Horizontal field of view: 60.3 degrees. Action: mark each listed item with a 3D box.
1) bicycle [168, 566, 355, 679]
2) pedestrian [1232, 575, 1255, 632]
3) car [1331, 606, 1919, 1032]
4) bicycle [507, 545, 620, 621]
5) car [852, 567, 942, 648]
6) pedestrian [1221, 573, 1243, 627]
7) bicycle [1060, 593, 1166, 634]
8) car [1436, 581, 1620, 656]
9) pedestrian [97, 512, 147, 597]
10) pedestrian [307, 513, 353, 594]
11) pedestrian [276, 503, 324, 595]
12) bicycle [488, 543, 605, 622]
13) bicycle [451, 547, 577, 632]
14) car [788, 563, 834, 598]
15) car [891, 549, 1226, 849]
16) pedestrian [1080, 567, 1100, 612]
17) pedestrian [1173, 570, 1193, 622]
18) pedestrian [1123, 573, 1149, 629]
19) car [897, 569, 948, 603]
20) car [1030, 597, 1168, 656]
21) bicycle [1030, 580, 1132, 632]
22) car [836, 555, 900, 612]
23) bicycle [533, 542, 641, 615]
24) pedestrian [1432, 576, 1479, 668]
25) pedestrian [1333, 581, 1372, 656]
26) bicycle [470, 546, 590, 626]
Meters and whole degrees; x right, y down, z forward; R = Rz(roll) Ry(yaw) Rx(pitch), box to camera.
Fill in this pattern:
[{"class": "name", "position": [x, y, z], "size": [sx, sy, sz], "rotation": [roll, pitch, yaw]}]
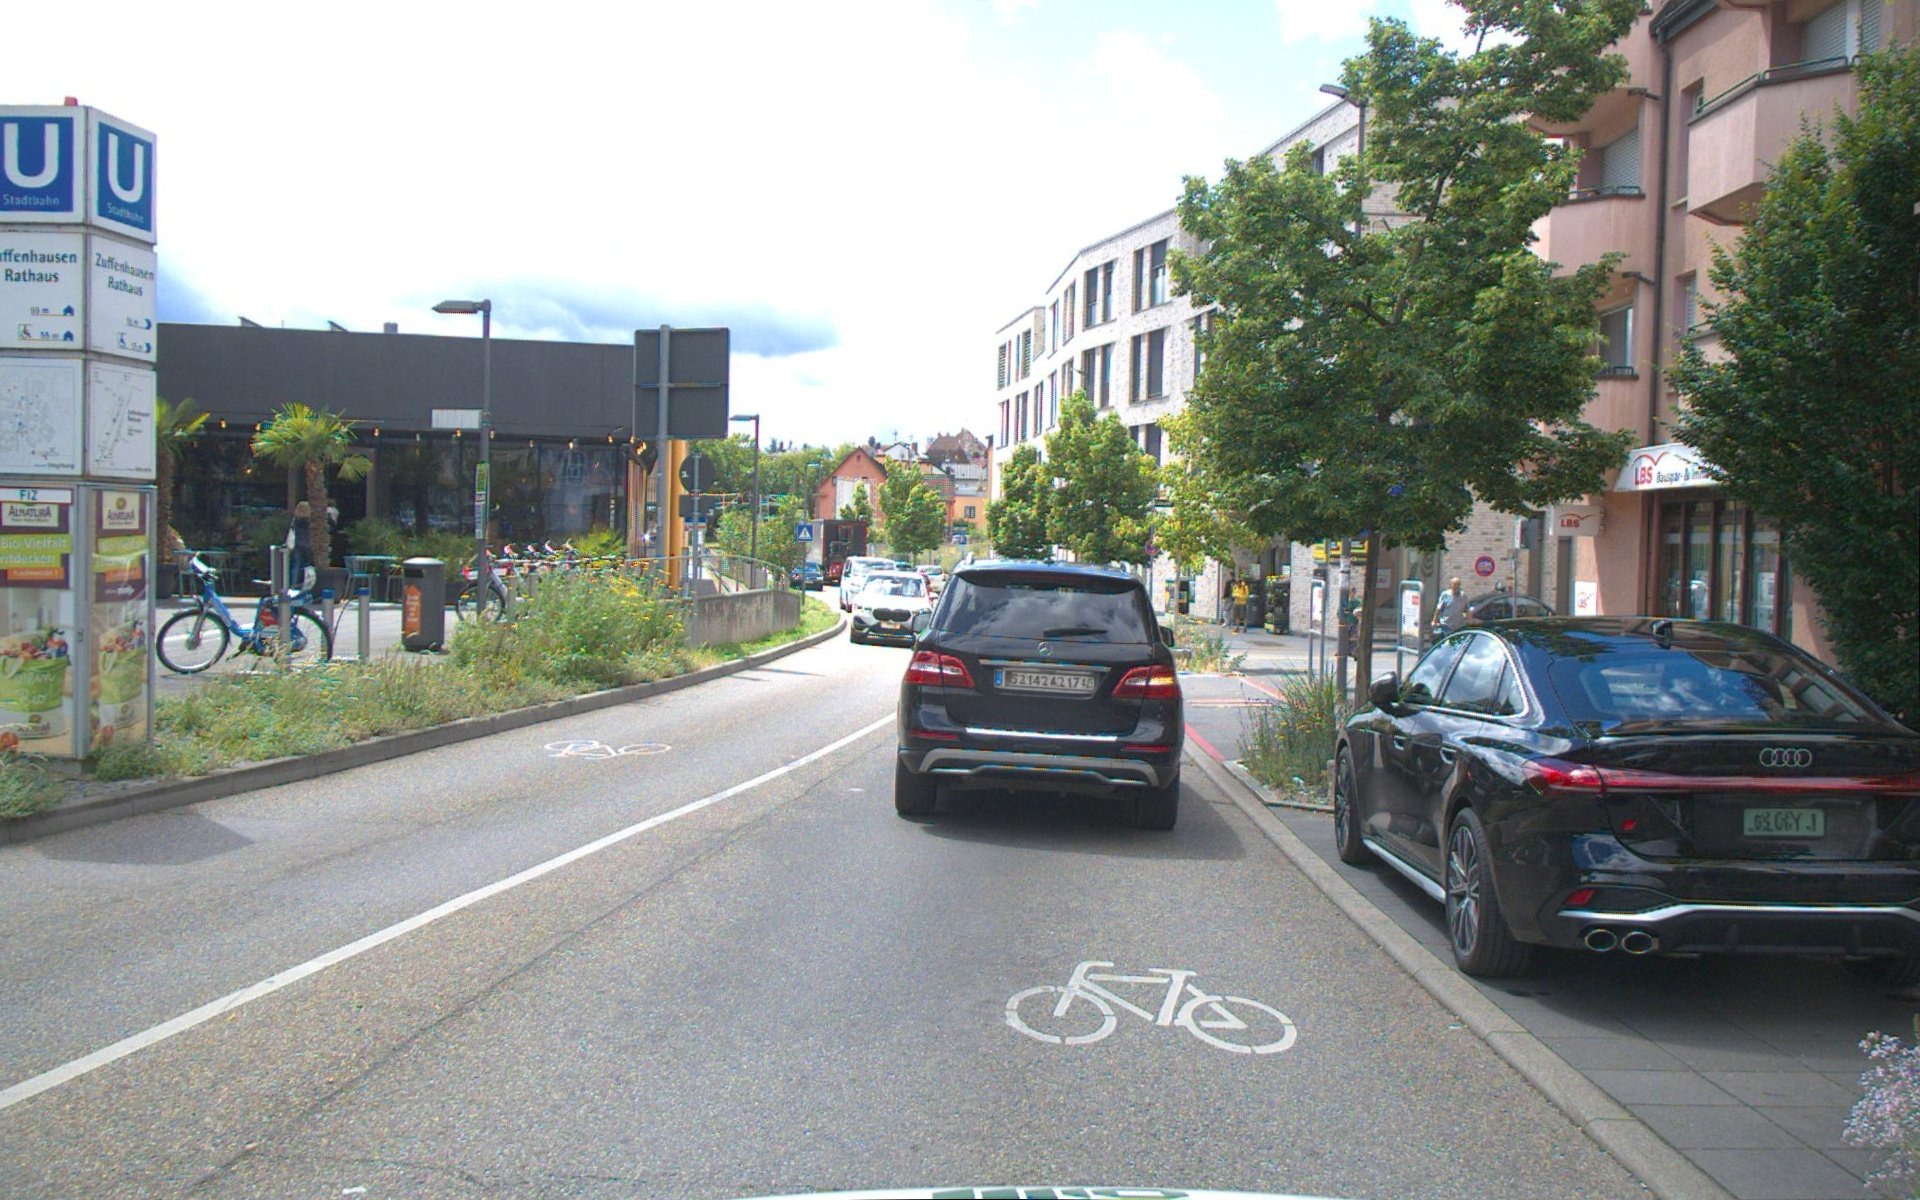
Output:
[{"class": "bicycle", "position": [-6.580, 0.202, 15.605], "size": [1.577, 1.014, 0.500], "rotation": [1, 0, 8]}, {"class": "pedestrian", "position": [8.580, 0.105, 50.068], "size": [0.547, 1.721, 0.639], "rotation": [1, 0, -1]}, {"class": "car", "position": [3.053, 0.763, 7.910], "size": [1.817, 1.430, 4.376], "rotation": [0, 0, 3]}, {"class": "bicycle", "position": [-5.984, -0.256, 25.000], "size": [1.535, 1.110, 0.578], "rotation": [1, 0, 2]}, {"class": "car", "position": [-1.390, 0.129, 37.714], "size": [1.803, 1.635, 4.000], "rotation": [3, 1, 0]}, {"class": "pedestrian", "position": [8.689, 0.003, 52.851], "size": [0.547, 1.712, 0.568], "rotation": [1, 0, -1]}, {"class": "bicycle", "position": [4.446, 0.389, 48.128], "size": [2.998, 1.166, 0.710], "rotation": [1, 1, -3]}, {"class": "car", "position": [14.175, 0.441, 41.450], "size": [3.905, 1.593, 1.847], "rotation": [4, 1, 1]}, {"class": "pedestrian", "position": [-13.967, -0.751, 27.584], "size": [0.570, 1.403, 0.614], "rotation": [0, 0, -10]}, {"class": "pedestrian", "position": [-11.808, -0.865, 31.006], "size": [0.568, 1.489, 0.616], "rotation": [1, 0, 10]}, {"class": "pedestrian", "position": [-12.030, -0.928, 30.137], "size": [0.604, 1.646, 0.580], "rotation": [1, 1, 37]}, {"class": "bicycle", "position": [-6.017, -0.261, 24.117], "size": [1.535, 1.110, 0.578], "rotation": [1, 0, 2]}, {"class": "bicycle", "position": [-6.053, -0.143, 22.495], "size": [1.535, 1.110, 0.578], "rotation": [1, 0, 2]}, {"class": "car", "position": [-7.709, -1.001, 85.366], "size": [1.808, 1.635, 3.989], "rotation": [3, 1, -12]}, {"class": "car", "position": [0.662, 0.595, 12.309], "size": [1.985, 1.757, 4.434], "rotation": [2, 0, 2]}, {"class": "pedestrian", "position": [4.974, -0.397, 63.354], "size": [0.550, 1.712, 0.565], "rotation": [1, 0, -20]}, {"class": "pedestrian", "position": [7.452, -0.143, 55.247], "size": [0.547, 1.712, 0.568], "rotation": [1, 0, -1]}, {"class": "pedestrian", "position": [5.414, 0.020, 50.858], "size": [0.650, 1.712, 0.567], "rotation": [1, 0, -10]}, {"class": "car", "position": [-1.636, -0.625, 71.045], "size": [1.579, 1.407, 3.827], "rotation": [0, 1, -10]}, {"class": "car", "position": [3.600, 0.636, 42.469], "size": [1.585, 1.407, 3.814], "rotation": [1, 1, 41]}, {"class": "bicycle", "position": [3.638, 0.170, 49.744], "size": [2.998, 1.512, 0.709], "rotation": [1, 1, -3]}, {"class": "car", "position": [-3.395, -0.630, 60.470], "size": [1.807, 1.890, 4.488], "rotation": [3, 1, -9]}, {"class": "bicycle", "position": [-5.833, -0.338, 25.927], "size": [1.535, 1.110, 0.578], "rotation": [1, 0, 2]}, {"class": "pedestrian", "position": [9.088, 0.401, 30.376], "size": [0.618, 1.655, 0.699], "rotation": [1, 0, -1]}, {"class": "pedestrian", "position": [8.556, 0.398, 36.088], "size": [0.696, 1.590, 0.568], "rotation": [1, 0, -1]}, {"class": "bicycle", "position": [-6.041, -0.198, 23.265], "size": [1.535, 1.087, 0.539], "rotation": [1, 0, 2]}]
